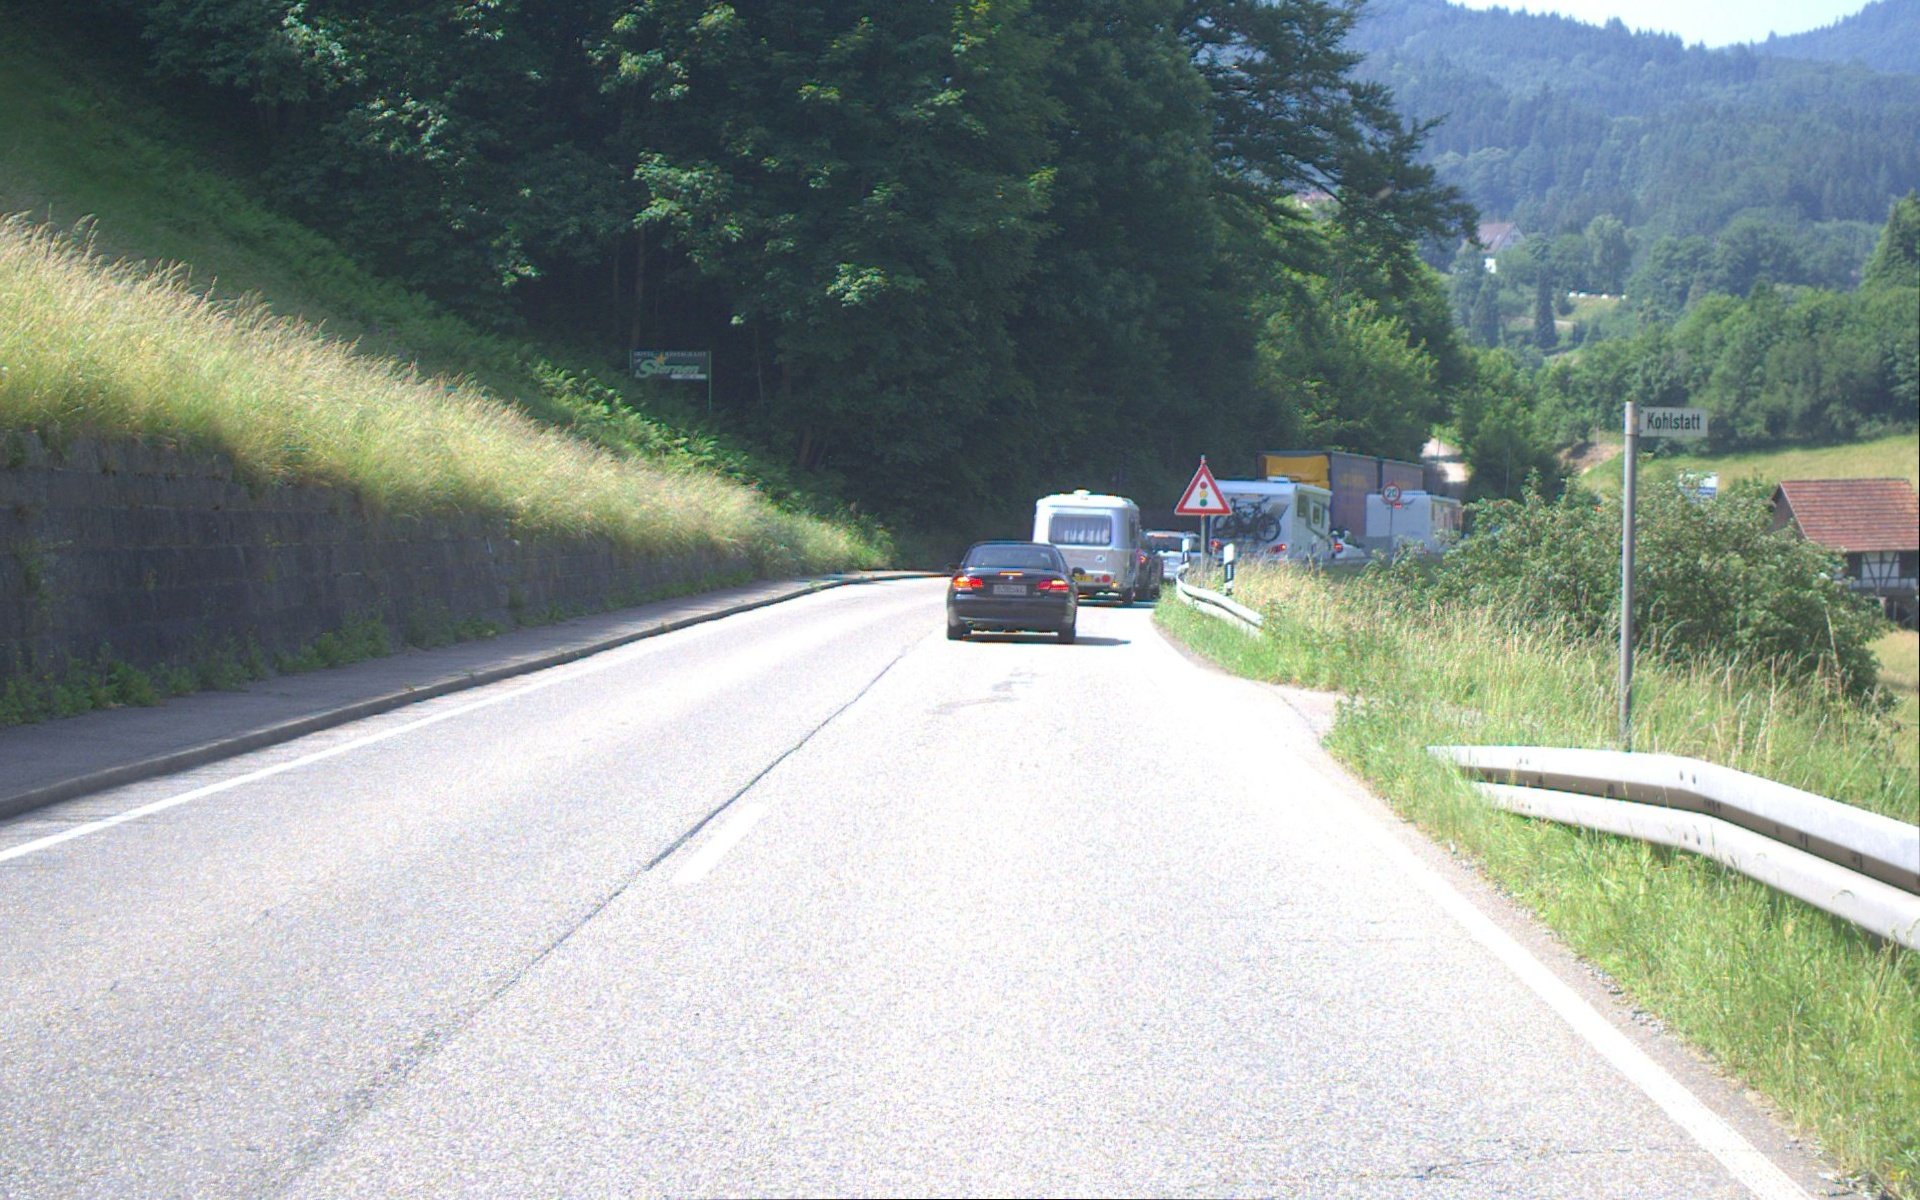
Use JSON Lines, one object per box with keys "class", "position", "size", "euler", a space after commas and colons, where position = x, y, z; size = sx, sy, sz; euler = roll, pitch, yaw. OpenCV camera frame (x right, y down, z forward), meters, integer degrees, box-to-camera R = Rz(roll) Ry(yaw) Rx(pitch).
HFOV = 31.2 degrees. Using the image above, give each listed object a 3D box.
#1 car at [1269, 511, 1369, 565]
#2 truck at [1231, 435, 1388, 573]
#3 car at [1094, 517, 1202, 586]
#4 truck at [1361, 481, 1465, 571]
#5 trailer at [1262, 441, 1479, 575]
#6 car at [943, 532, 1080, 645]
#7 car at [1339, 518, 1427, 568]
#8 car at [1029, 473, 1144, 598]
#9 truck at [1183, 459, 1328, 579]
{"class": "car", "position": [10.788, -1.865, 103.013], "size": [1.996, 1.459, 3.996], "euler": [5, 3, 19]}
{"class": "truck", "position": [11.893, -3.247, 116.394], "size": [3.193, 4.381, 6.563], "euler": [4, 3, 24]}
{"class": "car", "position": [4.561, -1.176, 82.764], "size": [1.994, 1.479, 3.998], "euler": [4, 2, 11]}
{"class": "truck", "position": [15.376, -2.459, 116.324], "size": [2.239, 2.794, 6.226], "euler": [3, 1, 18]}
{"class": "trailer", "position": [14.950, -3.241, 123.596], "size": [3.264, 4.402, 15.297], "euler": [3, 2, 23]}
{"class": "car", "position": [0.731, -0.193, 47.394], "size": [1.771, 1.331, 3.767], "euler": [2, 3, 1]}
{"class": "car", "position": [13.527, -1.827, 109.797], "size": [1.789, 1.459, 3.996], "euler": [5, 3, 21]}
{"class": "car", "position": [2.625, -1.362, 70.315], "size": [1.994, 2.344, 4.913], "euler": [2, 3, 5]}
{"class": "truck", "position": [8.217, -2.248, 94.820], "size": [2.793, 2.987, 6.864], "euler": [4, 3, 13]}
